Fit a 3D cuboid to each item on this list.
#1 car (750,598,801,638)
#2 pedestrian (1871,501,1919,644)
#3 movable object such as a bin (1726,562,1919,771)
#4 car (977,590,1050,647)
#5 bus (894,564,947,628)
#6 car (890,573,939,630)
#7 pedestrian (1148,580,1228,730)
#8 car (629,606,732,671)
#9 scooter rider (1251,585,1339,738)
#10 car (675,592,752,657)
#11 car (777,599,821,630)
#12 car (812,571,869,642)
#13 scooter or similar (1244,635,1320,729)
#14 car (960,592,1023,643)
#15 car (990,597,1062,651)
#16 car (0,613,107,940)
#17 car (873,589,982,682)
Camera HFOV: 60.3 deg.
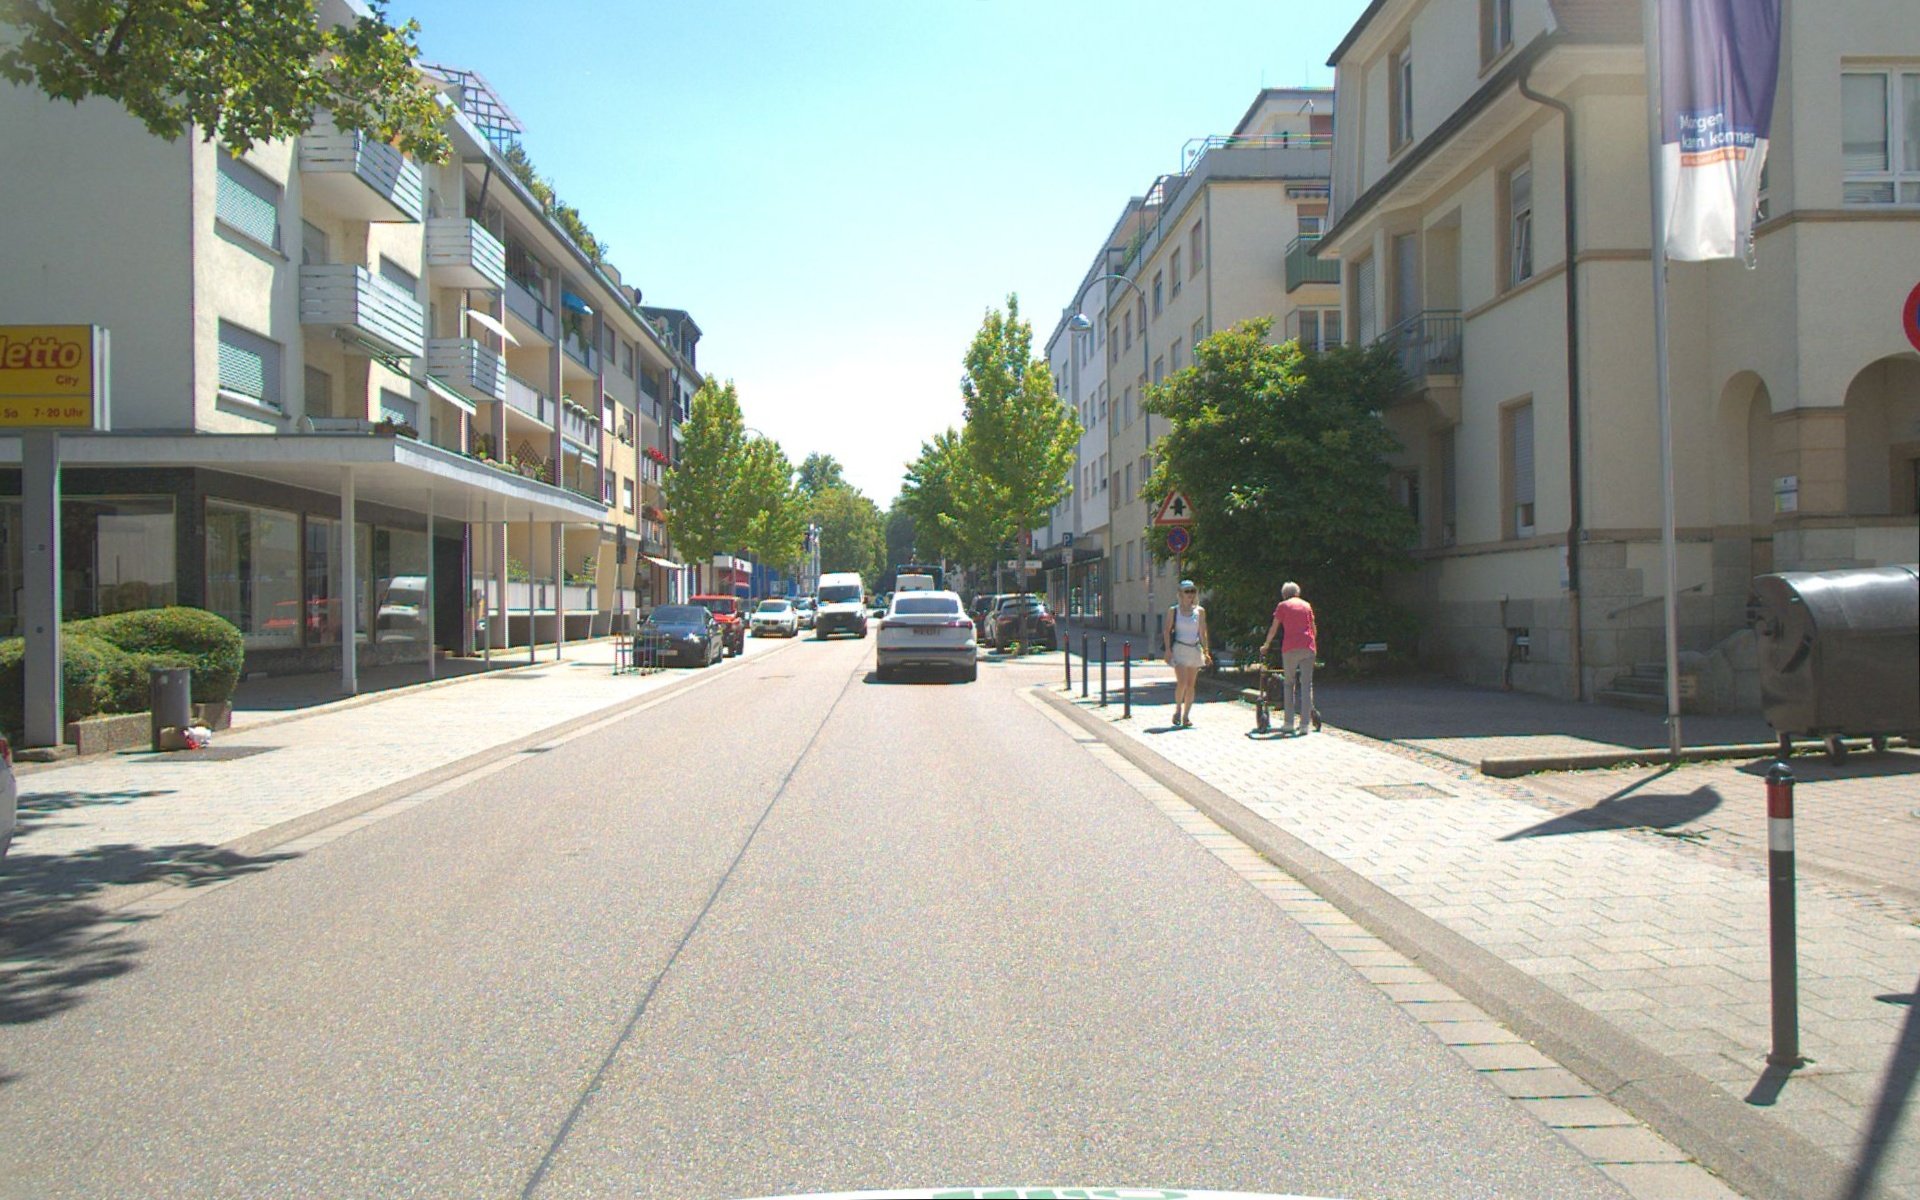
[{"bbox_3d":[-7.848,0.754,70.716,1.717,1.646,4.400,1,0,-1],"label":"car"},{"bbox_3d":[11.374,-0.326,20.022,0.582,1.687,0.738,-1,0,29],"label":"pedestrian"},{"bbox_3d":[7.039,0.483,12.952,1.340,1.484,1.380,-4,0,-1],"label":"movable object such as a bin"},{"bbox_3d":[1.713,0.576,54.630,1.859,1.704,4.686,-2,0,-4],"label":"car"},{"bbox_3d":[-2.112,-0.184,90.347,2.606,3.278,7.301,1,0,0],"label":"bus"},{"bbox_3d":[-2.110,0.074,76.677,2.113,2.484,5.281,1,0,-2],"label":"car"},{"bbox_3d":[2.631,0.627,19.135,0.686,1.655,0.783,-4,0,-3],"label":"pedestrian"},{"bbox_3d":[-6.845,0.901,40.957,1.858,1.442,5.045,1,0,-3],"label":"car"},{"bbox_3d":[3.579,0.640,17.719,0.702,1.576,0.770,-2,0,-4],"label":"scooter rider"},{"bbox_3d":[-7.032,0.681,47.428,1.717,1.732,4.099,1,0,-3],"label":"car"},{"bbox_3d":[-7.920,0.705,81.584,1.716,1.478,4.400,1,0,0],"label":"car"},{"bbox_3d":[-4.869,0.252,68.304,1.996,2.676,7.104,-3,0,-2],"label":"car"},{"bbox_3d":[3.570,0.900,18.402,0.650,0.980,0.753,-2,0,-2],"label":"scooter or similar"},{"bbox_3d":[1.105,0.600,59.953,1.819,1.704,4.533,-2,0,-4],"label":"car"},{"bbox_3d":[1.884,0.665,48.493,1.857,1.463,4.544,-1,0,0],"label":"car"},{"bbox_3d":[-5.258,0.807,5.932,1.941,1.477,5.147,0,0,-3],"label":"car"},{"bbox_3d":[-0.689,0.638,31.941,1.954,1.661,3.997,1,0,-3],"label":"car"}]
